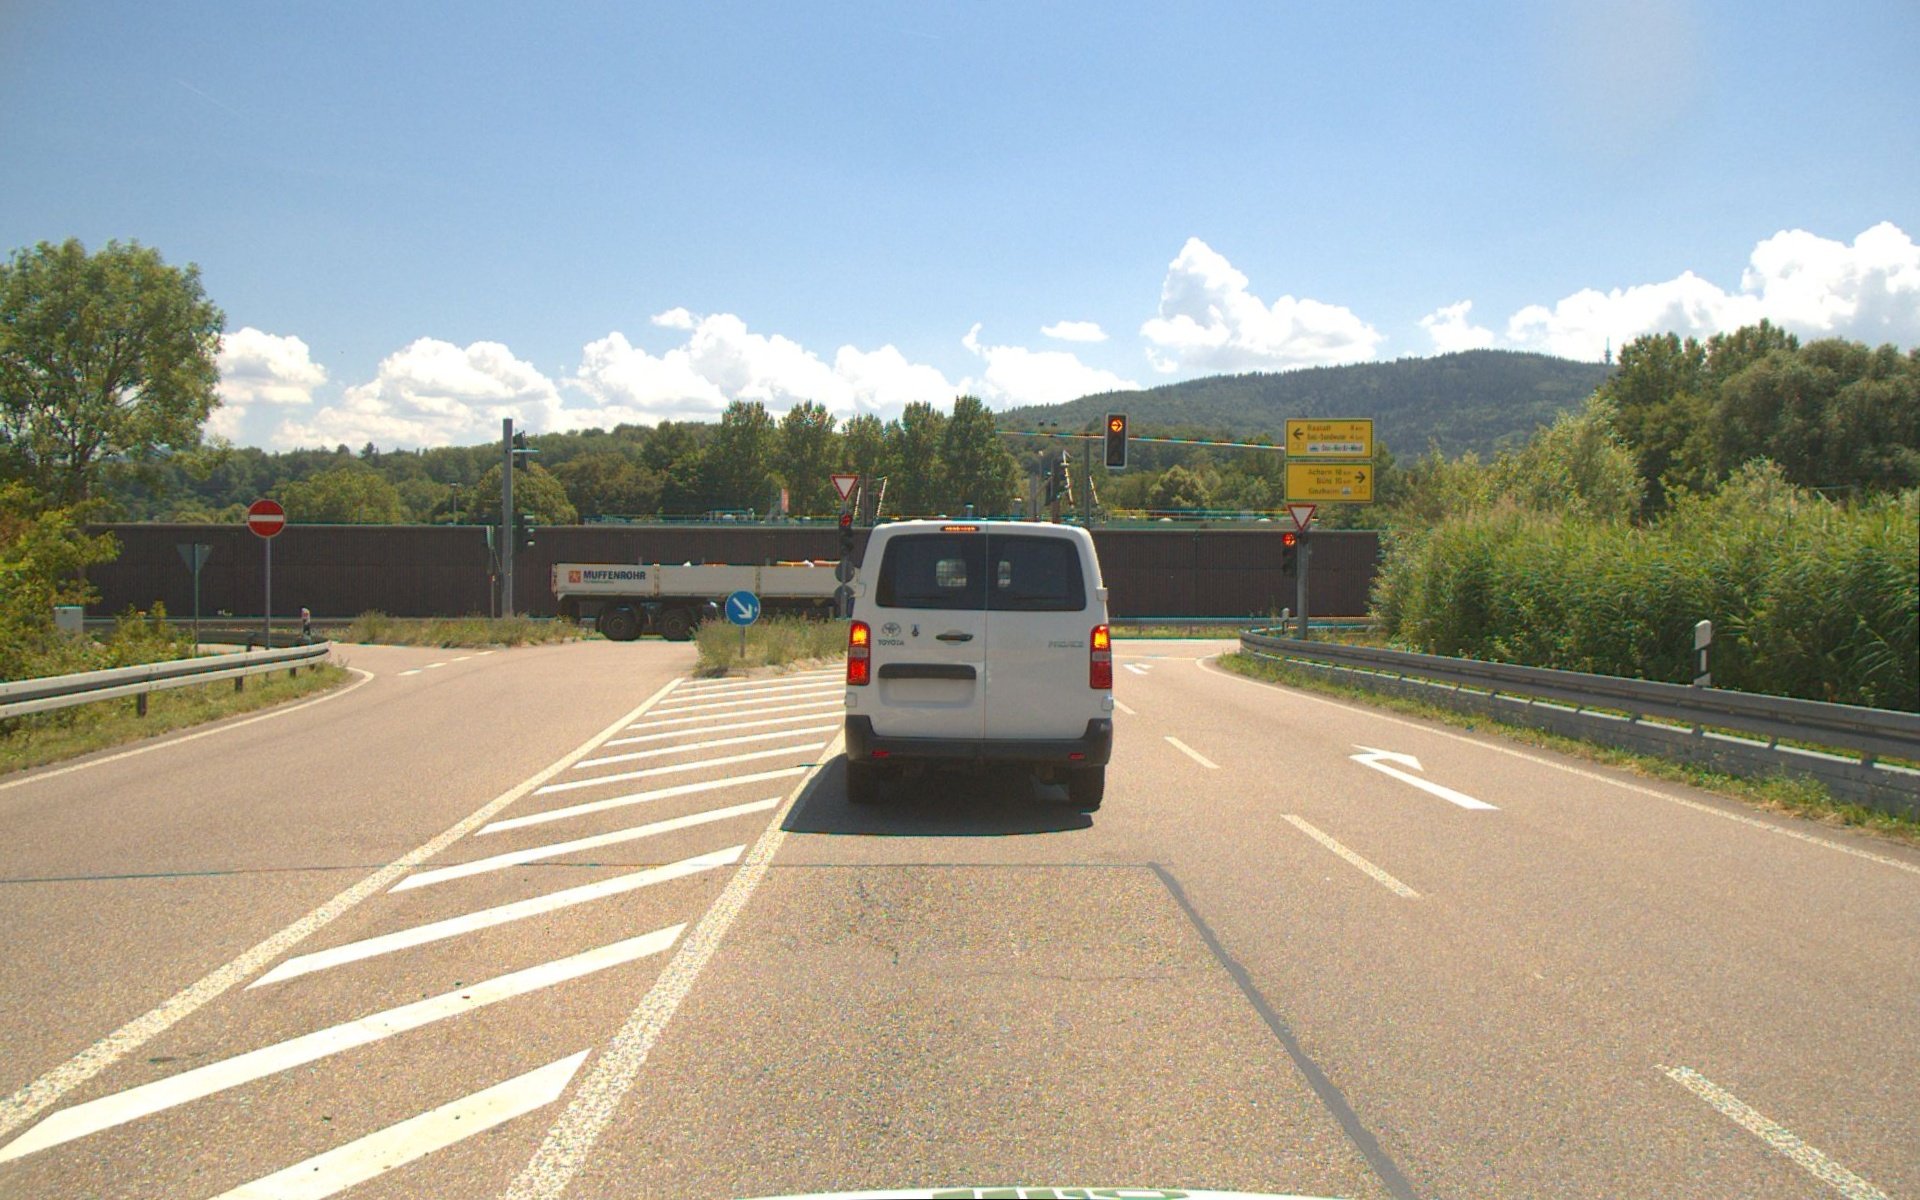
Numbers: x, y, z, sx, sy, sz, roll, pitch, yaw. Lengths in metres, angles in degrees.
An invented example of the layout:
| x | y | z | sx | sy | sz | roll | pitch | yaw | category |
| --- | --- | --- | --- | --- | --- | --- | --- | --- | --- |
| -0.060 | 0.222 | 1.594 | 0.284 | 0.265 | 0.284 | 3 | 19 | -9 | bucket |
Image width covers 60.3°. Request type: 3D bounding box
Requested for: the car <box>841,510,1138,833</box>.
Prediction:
| x | y | z | sx | sy | sz | roll | pitch | yaw | category |
| --- | --- | --- | --- | --- | --- | --- | --- | --- | --- |
| 0.162 | 0.447 | 12.337 | 1.832 | 1.999 | 3.999 | 1 | 0 | -1 | car |

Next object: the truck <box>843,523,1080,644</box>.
| x | y | z | sx | sy | sz | roll | pitch | yaw | category |
| --- | --- | --- | --- | --- | --- | --- | --- | --- | --- |
| 0.025 | -0.528 | 52.067 | 7.256 | 3.565 | 2.232 | -1 | 1 | -2 | truck |

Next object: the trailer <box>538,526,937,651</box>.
| x | y | z | sx | sy | sz | roll | pitch | yaw | category |
| --- | --- | --- | --- | --- | --- | --- | --- | --- | --- |
| -6.814 | -0.385 | 51.773 | 12.073 | 3.565 | 2.232 | -1 | 1 | -2 | trailer |

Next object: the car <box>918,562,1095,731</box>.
| x | y | z | sx | sy | sz | roll | pitch | yaw | category |
| --- | --- | --- | --- | --- | --- | --- | --- | --- | --- |
| 0.507 | 0.519 | 20.564 | 1.953 | 1.844 | 3.999 | -1 | 0 | -1 | car |

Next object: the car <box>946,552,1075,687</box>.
| x | y | z | sx | sy | sz | roll | pitch | yaw | category |
| --- | --- | --- | --- | --- | --- | --- | --- | --- | --- |
| 0.769 | 0.303 | 27.611 | 1.953 | 2.048 | 3.999 | -1 | 0 | -1 | car |
